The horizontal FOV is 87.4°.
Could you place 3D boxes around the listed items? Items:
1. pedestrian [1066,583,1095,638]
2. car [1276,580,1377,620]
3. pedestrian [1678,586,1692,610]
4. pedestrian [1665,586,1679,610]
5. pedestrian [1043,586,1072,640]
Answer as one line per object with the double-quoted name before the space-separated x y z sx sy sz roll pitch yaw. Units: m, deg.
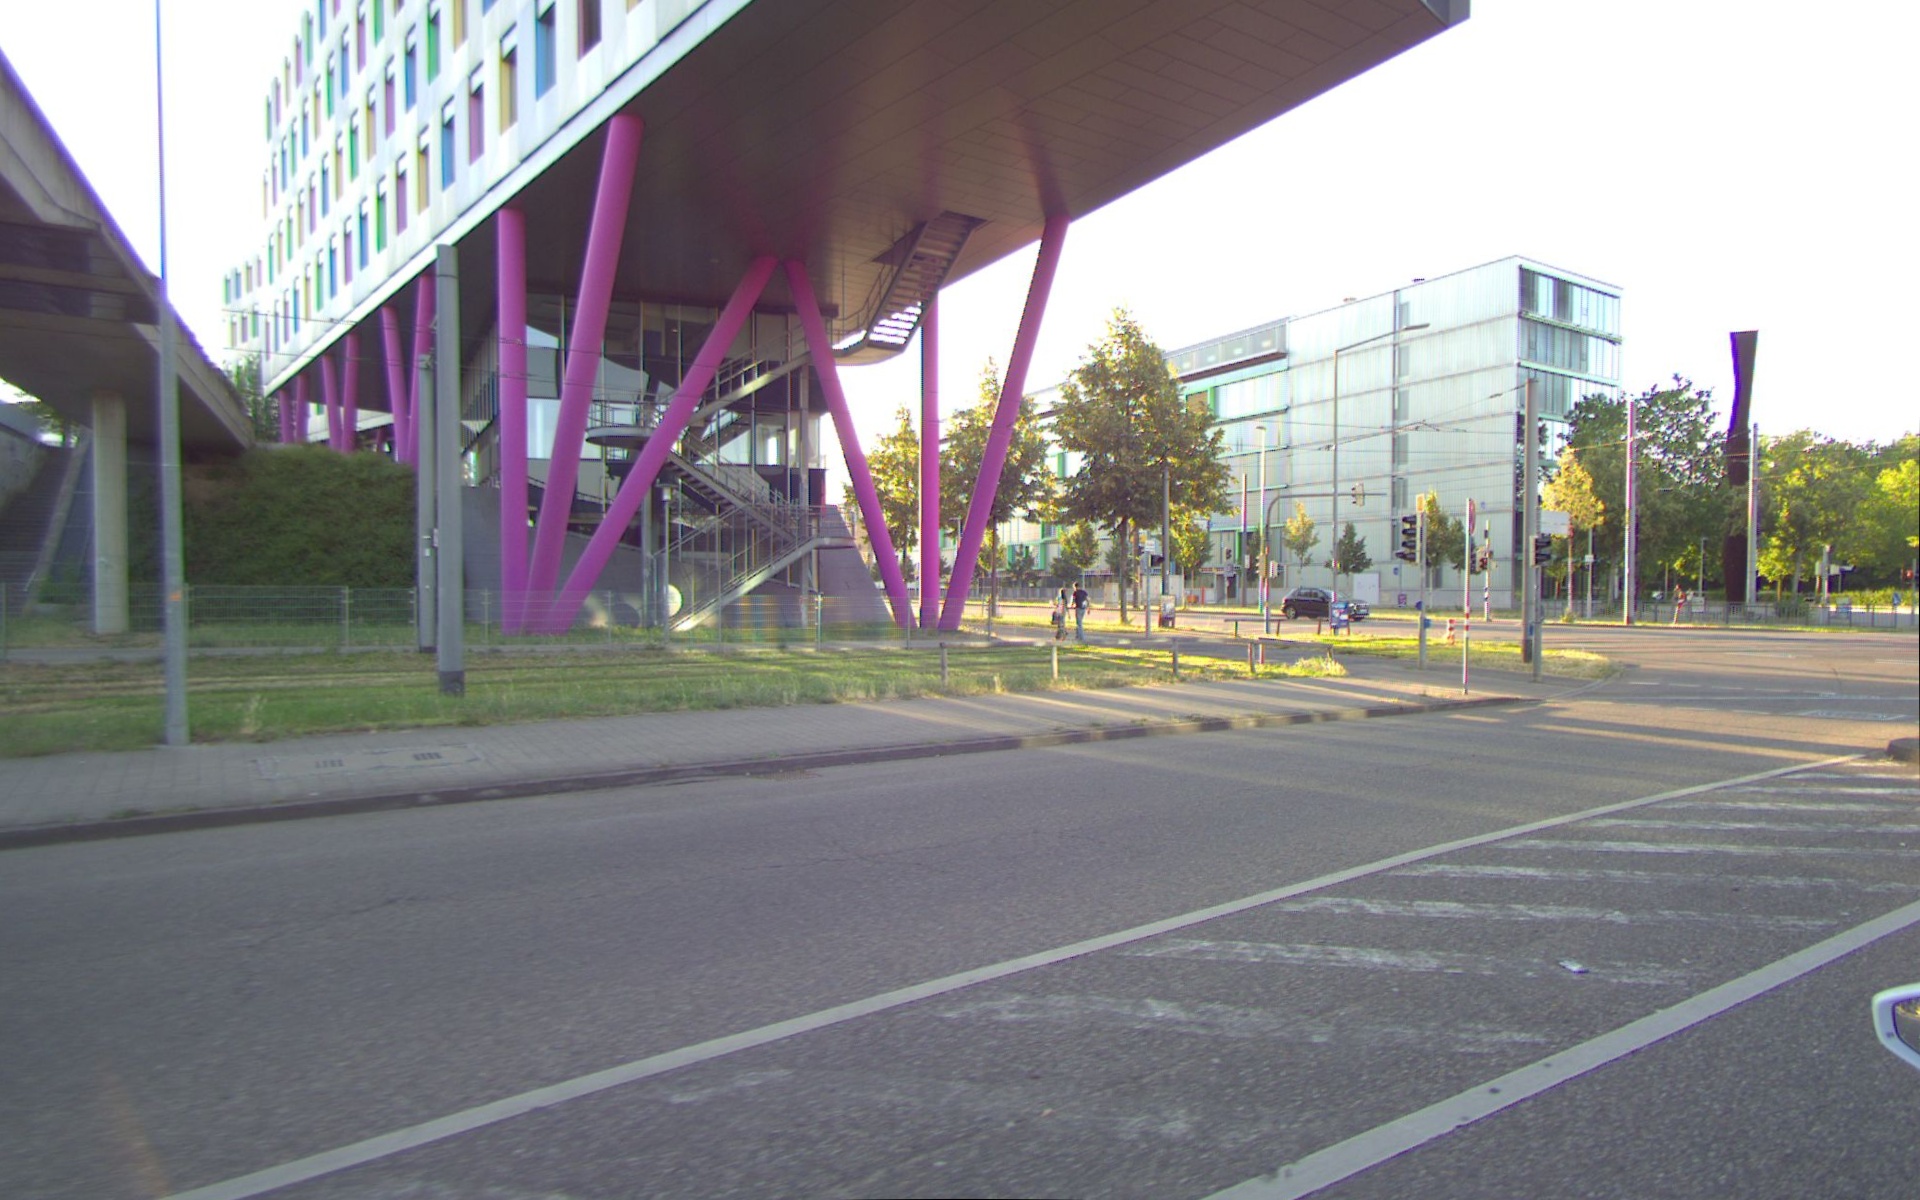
"pedestrian" 3.806 0.318 31.721 0.699 1.686 0.701 -1 1 -13
"car" 17.784 -0.033 48.894 1.923 1.841 4.444 -2 1 -31
"pedestrian" 63.300 -0.187 87.722 0.686 2.041 0.696 -1 1 -10
"pedestrian" 61.973 -0.188 87.433 0.686 2.041 0.696 -1 1 -10
"pedestrian" 3.063 0.398 31.531 0.699 1.646 0.686 -1 1 -13
